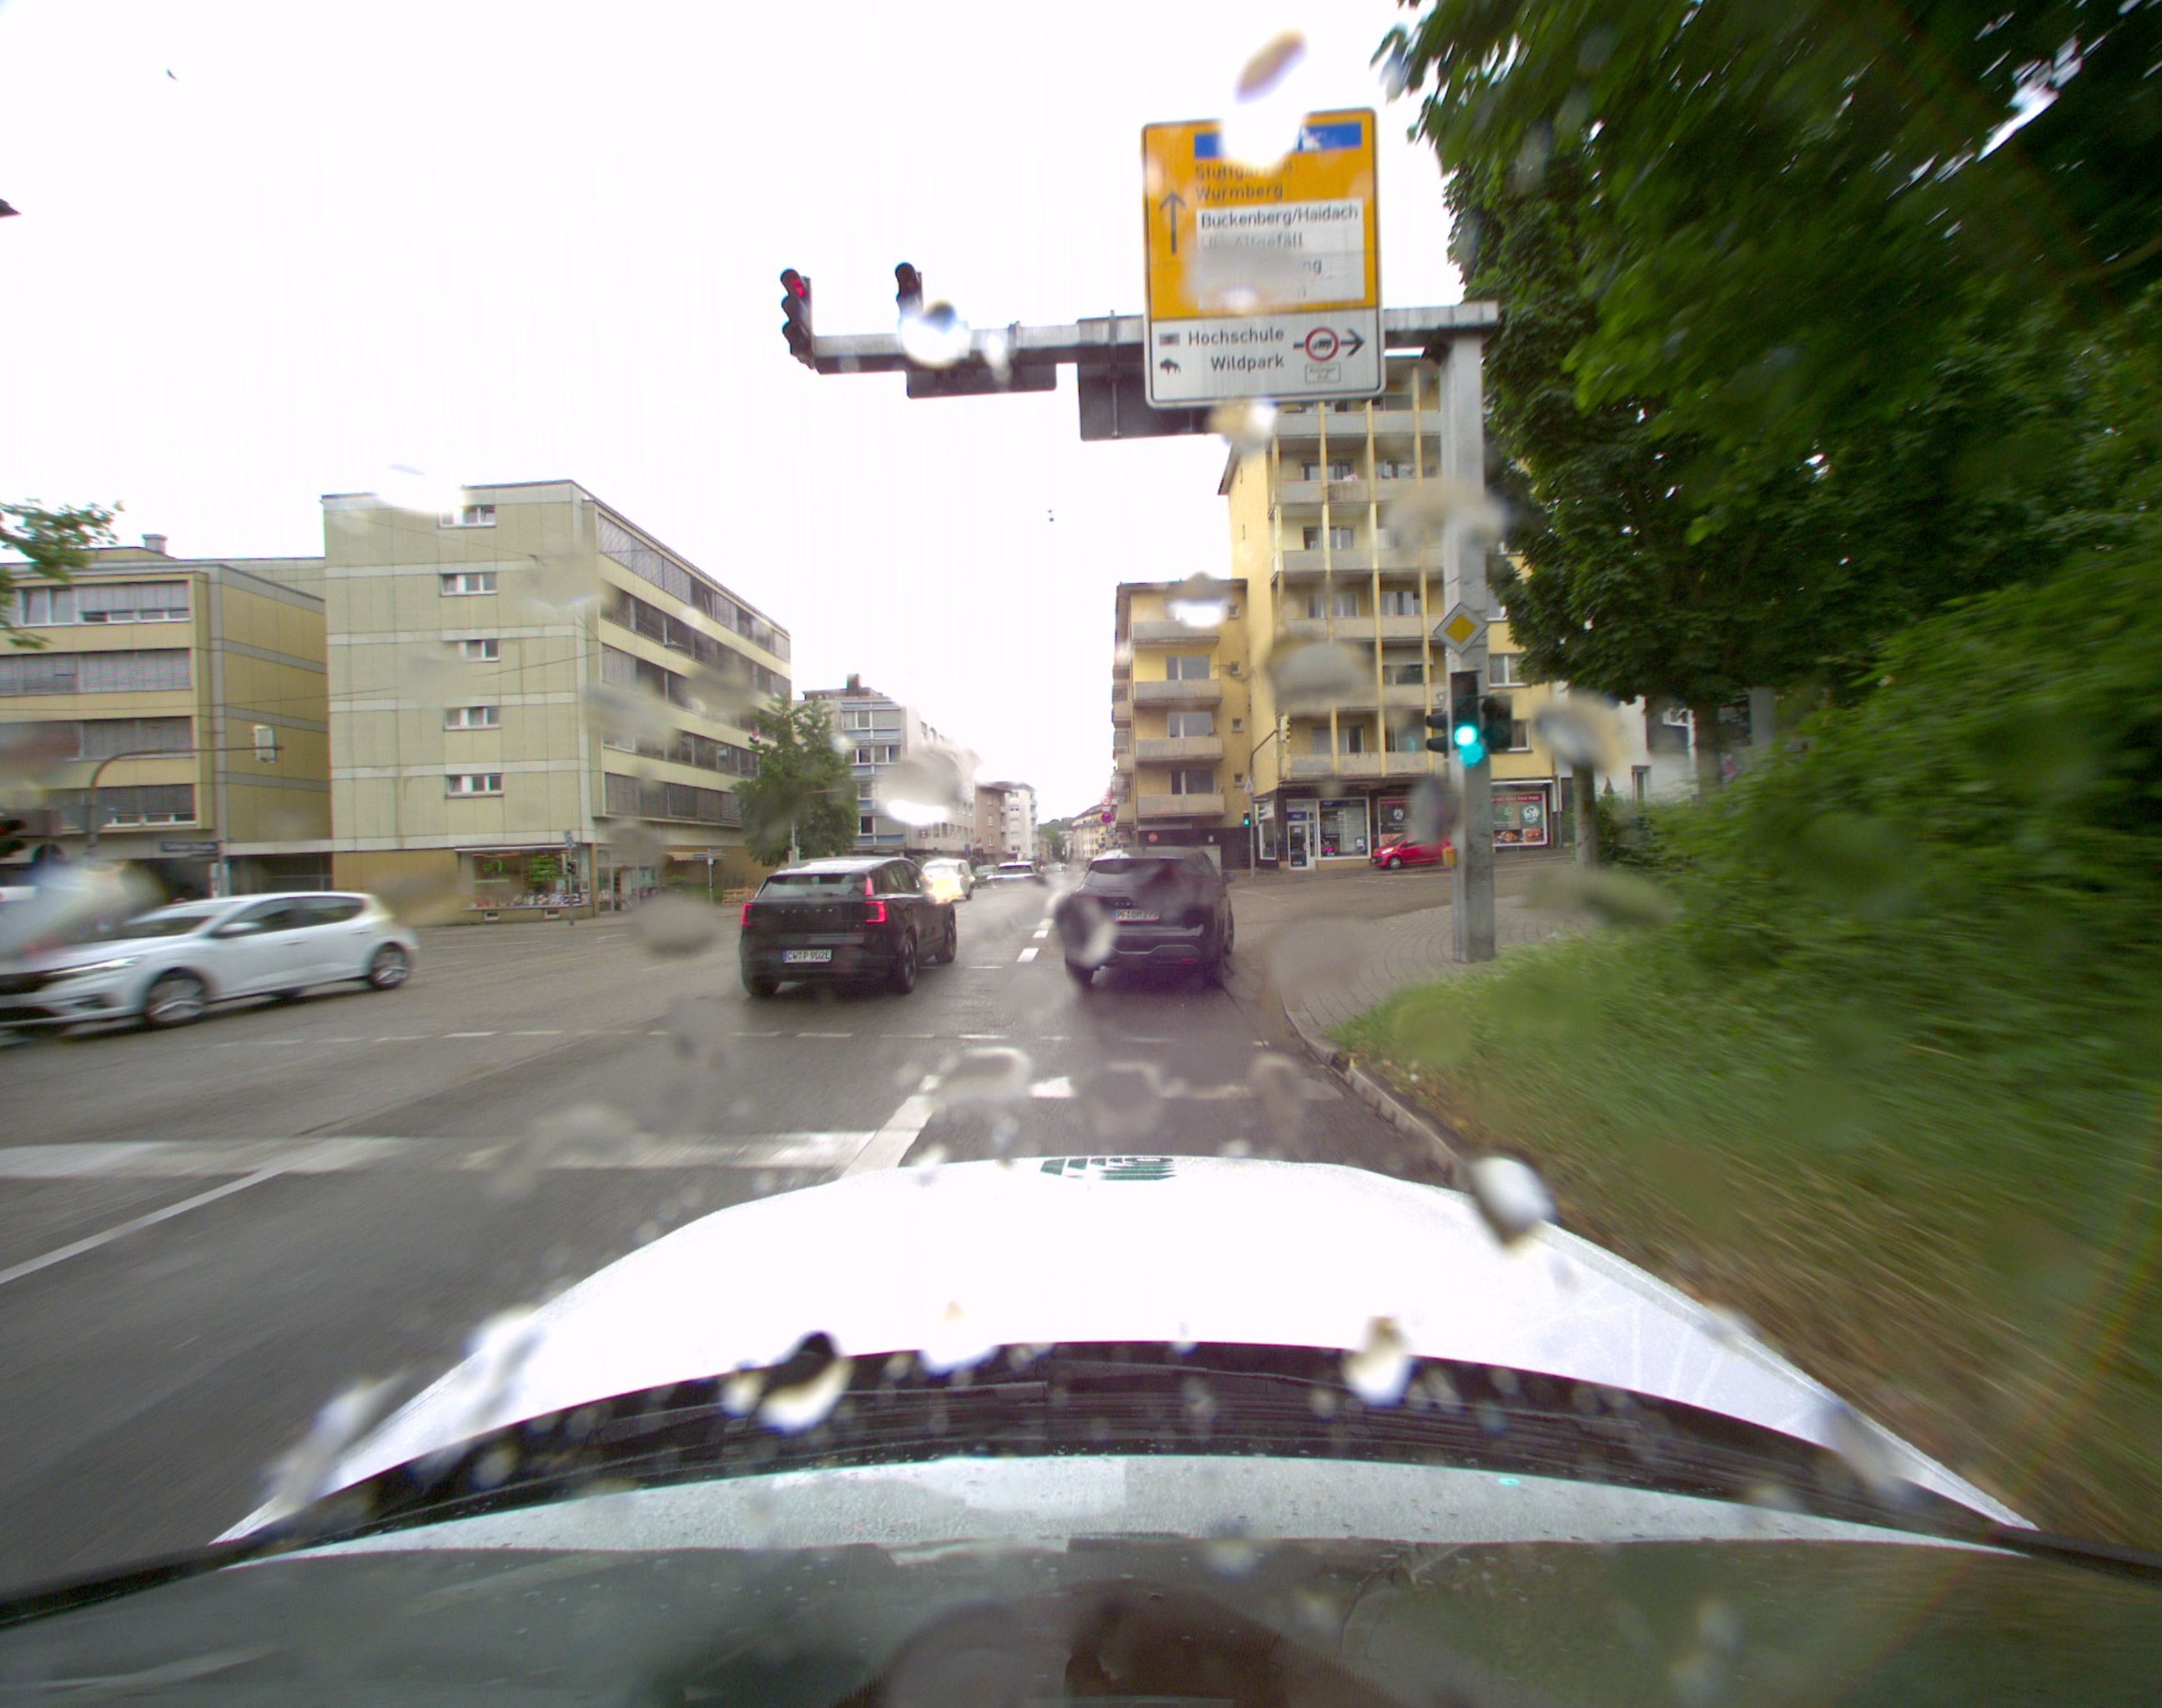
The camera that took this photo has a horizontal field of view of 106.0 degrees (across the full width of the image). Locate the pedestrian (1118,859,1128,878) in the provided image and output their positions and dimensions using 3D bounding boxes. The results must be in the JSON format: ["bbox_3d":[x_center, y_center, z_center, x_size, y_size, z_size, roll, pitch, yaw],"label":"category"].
[{"bbox_3d":[3.486,1.223,67.385,0.623,1.558,0.709,-2,0,16],"label":"pedestrian"}]

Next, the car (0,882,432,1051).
[{"bbox_3d":[-11.130,1.281,10.469,1.985,1.494,4.092,-5,0,4],"label":"car"}]

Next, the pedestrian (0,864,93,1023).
[{"bbox_3d":[-14.192,1.173,10.815,0.940,2.013,0.884,-3,-1,-8],"label":"pedestrian"}]

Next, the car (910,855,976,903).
[{"bbox_3d":[-5.799,1.004,34.671,1.772,1.816,4.408,-4,-1,2],"label":"car"}]

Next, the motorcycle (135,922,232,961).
[{"bbox_3d":[-26.483,2.577,24.068,1.855,0.935,0.615,-3,-1,-15],"label":"motorcycle"}]

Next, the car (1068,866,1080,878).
[{"bbox_3d":[-1.261,3.303,151.961,1.985,2.013,4.003,-4,-1,3],"label":"car"}]

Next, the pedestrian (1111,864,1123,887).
[{"bbox_3d":[2.575,1.500,57.612,0.699,1.558,0.631,-2,0,10],"label":"pedestrian"}]

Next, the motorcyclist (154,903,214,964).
[{"bbox_3d":[-26.509,2.332,24.072,0.920,1.663,0.704,-3,-2,-16],"label":"motorcyclist"}]

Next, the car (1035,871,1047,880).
[{"bbox_3d":[-7.454,3.947,151.278,1.987,1.486,4.000,-4,0,0],"label":"car"}]

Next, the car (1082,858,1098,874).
[{"bbox_3d":[1.167,1.579,111.068,1.988,2.013,3.998,-5,-1,-1],"label":"car"}]

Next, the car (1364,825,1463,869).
[{"bbox_3d":[13.866,-0.284,34.049,3.461,1.557,1.472,-4,1,-1],"label":"car"}]

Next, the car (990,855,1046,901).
[{"bbox_3d":[-2.211,0.807,28.871,1.764,1.444,3.994,-3,0,-4],"label":"car"}]

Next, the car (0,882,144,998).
[{"bbox_3d":[-28.543,2.343,21.125,5.741,2.712,2.185,-5,-1,0],"label":"car"}]

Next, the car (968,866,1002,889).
[{"bbox_3d":[-7.285,1.770,61.882,1.771,1.596,3.797,-4,-1,4],"label":"car"}]

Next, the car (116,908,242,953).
[{"bbox_3d":[-42.539,3.575,38.539,1.748,1.577,3.695,-5,1,-2],"label":"car"}]

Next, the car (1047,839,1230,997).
[{"bbox_3d":[0.961,0.678,10.672,1.947,1.653,4.012,0,0,10],"label":"car"}]

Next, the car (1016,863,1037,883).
[{"bbox_3d":[-6.303,2.191,95.112,1.903,2.013,4.002,-5,-1,2],"label":"car"}]

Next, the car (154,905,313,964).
[{"bbox_3d":[-34.840,3.284,33.572,4.417,1.919,2.035,-5,-1,3],"label":"car"}]
